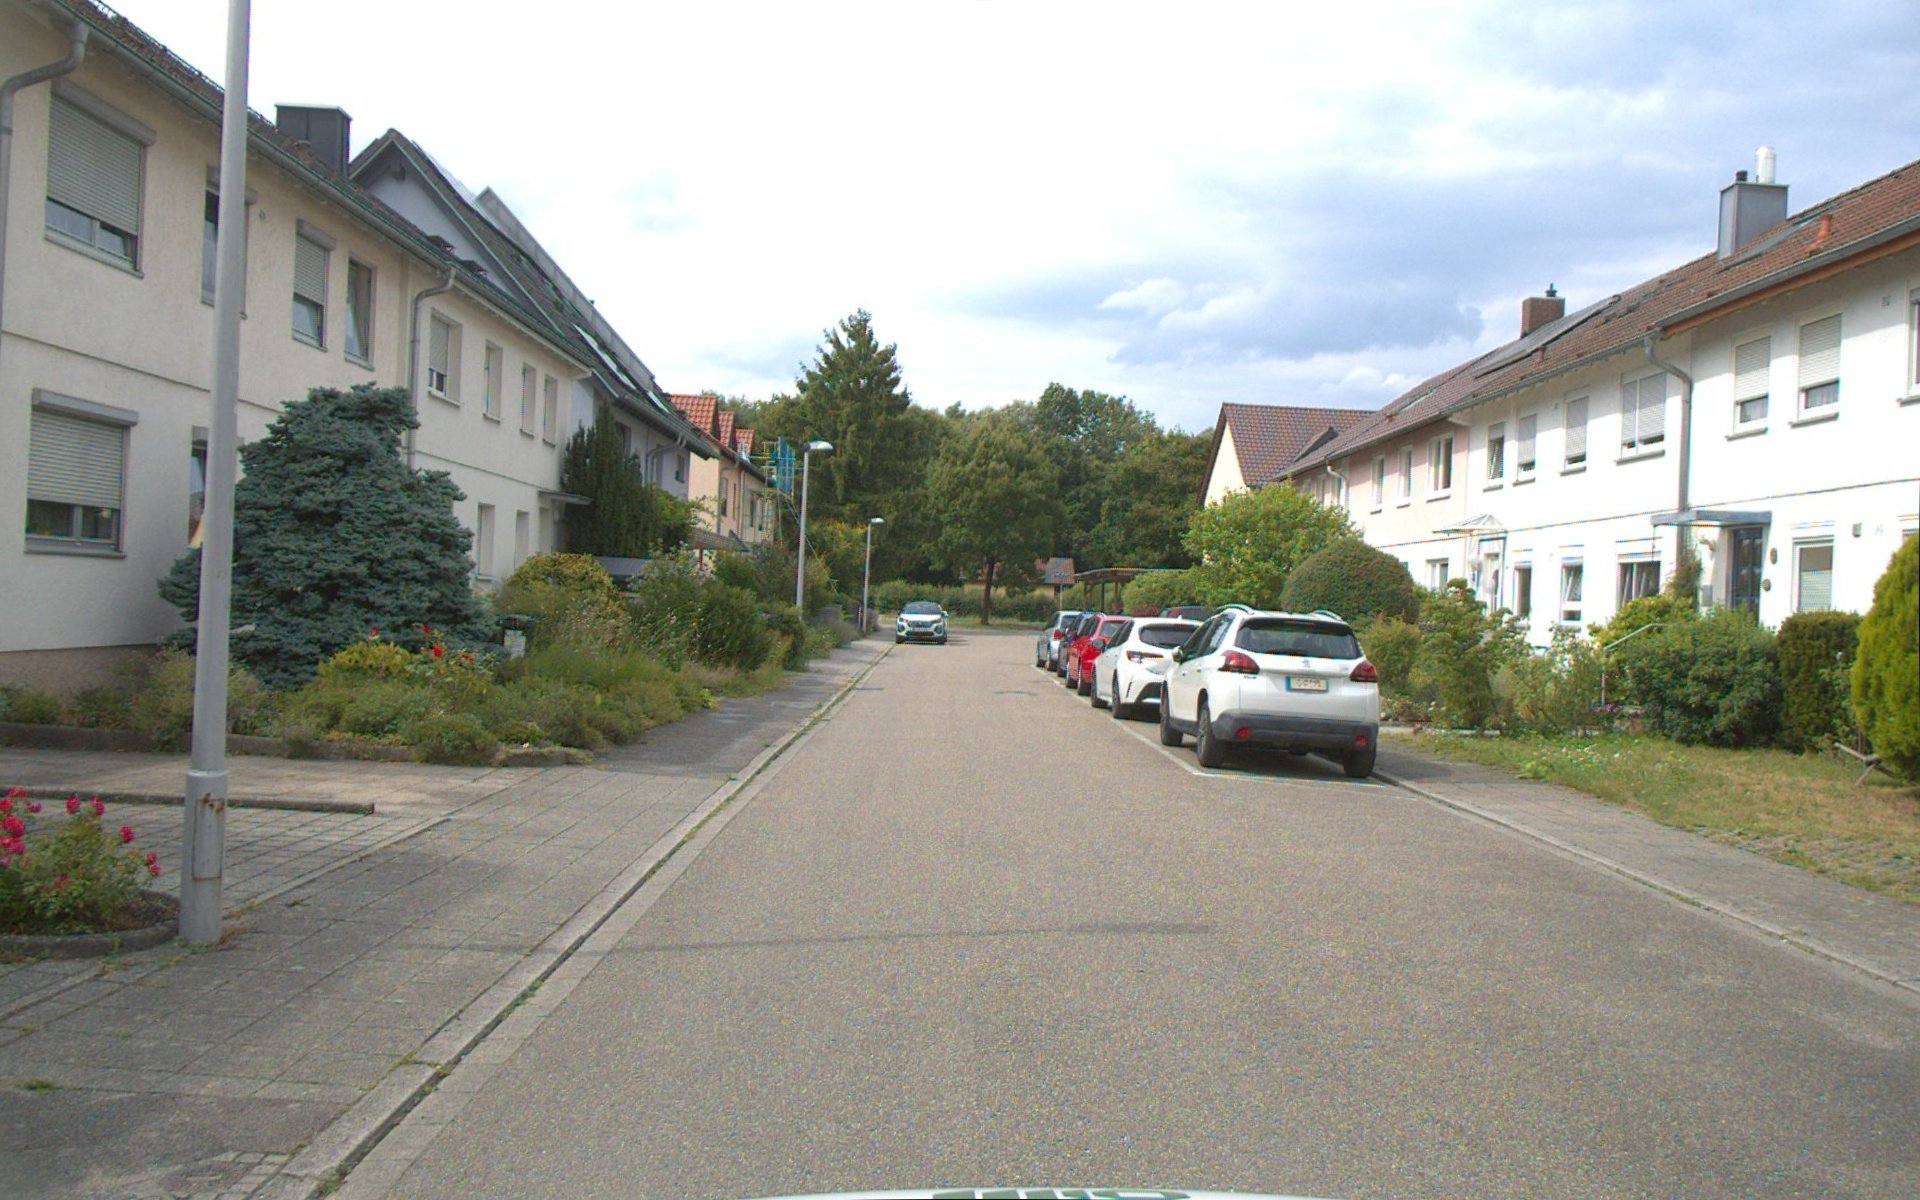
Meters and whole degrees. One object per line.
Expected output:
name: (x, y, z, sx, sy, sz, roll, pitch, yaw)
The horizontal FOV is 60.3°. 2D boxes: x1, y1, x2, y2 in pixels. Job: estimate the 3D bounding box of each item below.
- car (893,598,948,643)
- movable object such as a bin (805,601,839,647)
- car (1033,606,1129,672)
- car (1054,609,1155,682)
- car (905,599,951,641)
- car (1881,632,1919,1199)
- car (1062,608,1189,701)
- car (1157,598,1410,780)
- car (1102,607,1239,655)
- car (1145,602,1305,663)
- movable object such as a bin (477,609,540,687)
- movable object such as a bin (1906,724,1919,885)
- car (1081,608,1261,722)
car: (-1.433, 0.733, 61.718, 1.894, 1.583, 4.634, 2, 0, 0)
movable object such as a bin: (-4.157, 0.722, 49.836, 0.930, 1.335, 1.000, 1, 0, -2)
car: (2.929, 0.926, 40.872, 1.827, 1.441, 4.250, 3, 0, -3)
car: (3.029, 0.922, 35.375, 1.736, 1.379, 4.265, 2, 0, 0)
car: (-1.293, 0.778, 67.118, 1.773, 1.589, 4.847, 2, 0, -1)
car: (3.448, 0.860, 2.433, 1.862, 1.485, 4.129, 2, 0, 0)
car: (2.960, 0.942, 30.540, 1.738, 1.461, 4.825, 4, 0, 0)
car: (3.228, 0.821, 17.261, 1.679, 1.570, 3.972, 4, 0, -2)
car: (7.180, 1.053, 56.647, 4.361, 1.458, 2.026, 2, 0, -3)
car: (7.440, 0.902, 46.746, 4.183, 1.587, 1.934, 1, 0, 0)
movable object such as a bin: (-6.130, 0.647, 22.469, 0.661, 1.025, 0.598, 1, 0, -1)
movable object such as a bin: (5.865, 1.216, 9.663, 0.399, 0.937, 0.420, 2, 0, -6)
car: (3.005, 0.887, 24.526, 1.801, 1.437, 4.634, 2, 0, -3)
